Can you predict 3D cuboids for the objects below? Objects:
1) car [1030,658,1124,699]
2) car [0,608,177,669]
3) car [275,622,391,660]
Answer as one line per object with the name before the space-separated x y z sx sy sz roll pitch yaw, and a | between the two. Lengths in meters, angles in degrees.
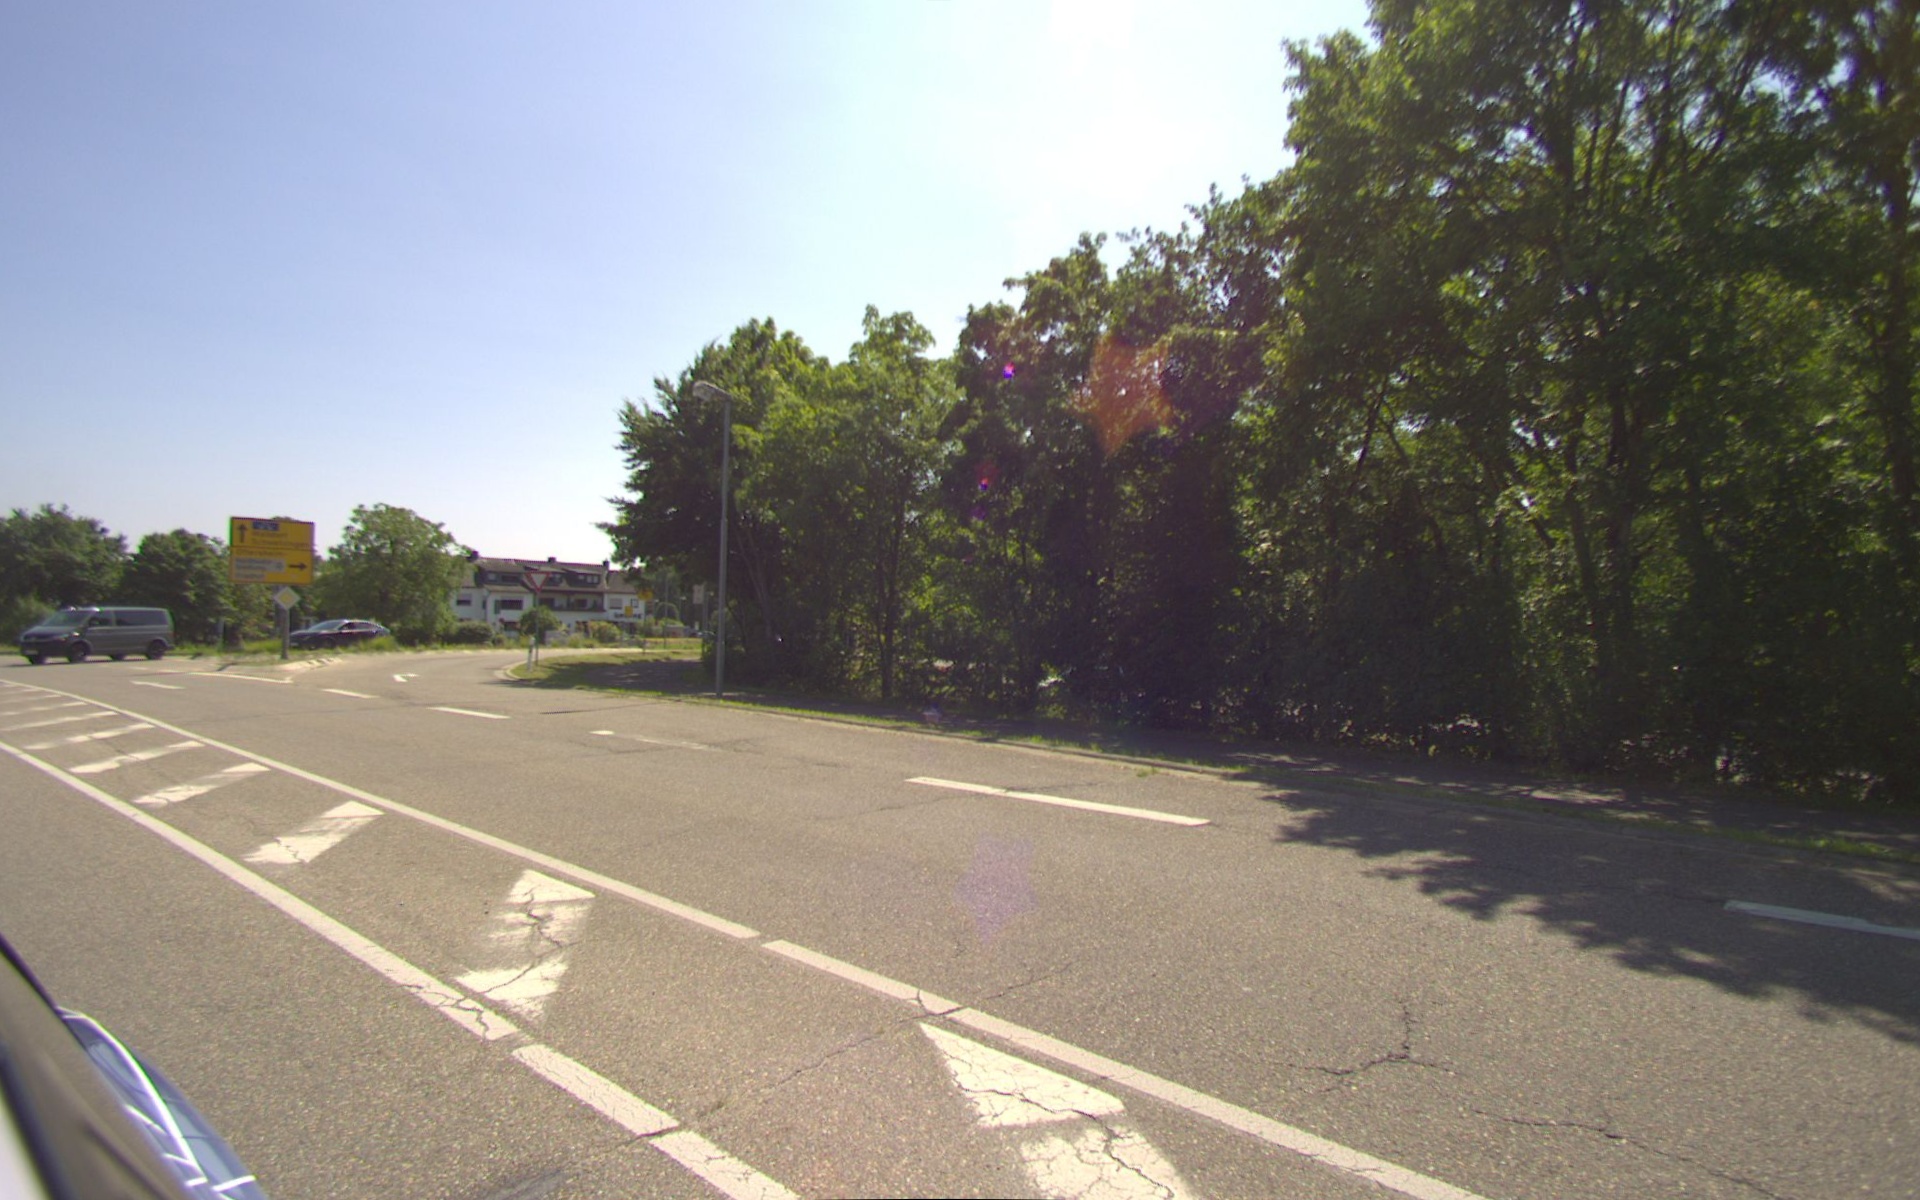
car | 5.078 3.332 43.494 4.054 1.504 1.757 2 -1 -42
car | -31.601 1.382 36.936 1.978 2.029 4.751 -1 -2 9
car | -28.637 1.837 46.383 1.737 1.658 4.345 -1 -2 21
